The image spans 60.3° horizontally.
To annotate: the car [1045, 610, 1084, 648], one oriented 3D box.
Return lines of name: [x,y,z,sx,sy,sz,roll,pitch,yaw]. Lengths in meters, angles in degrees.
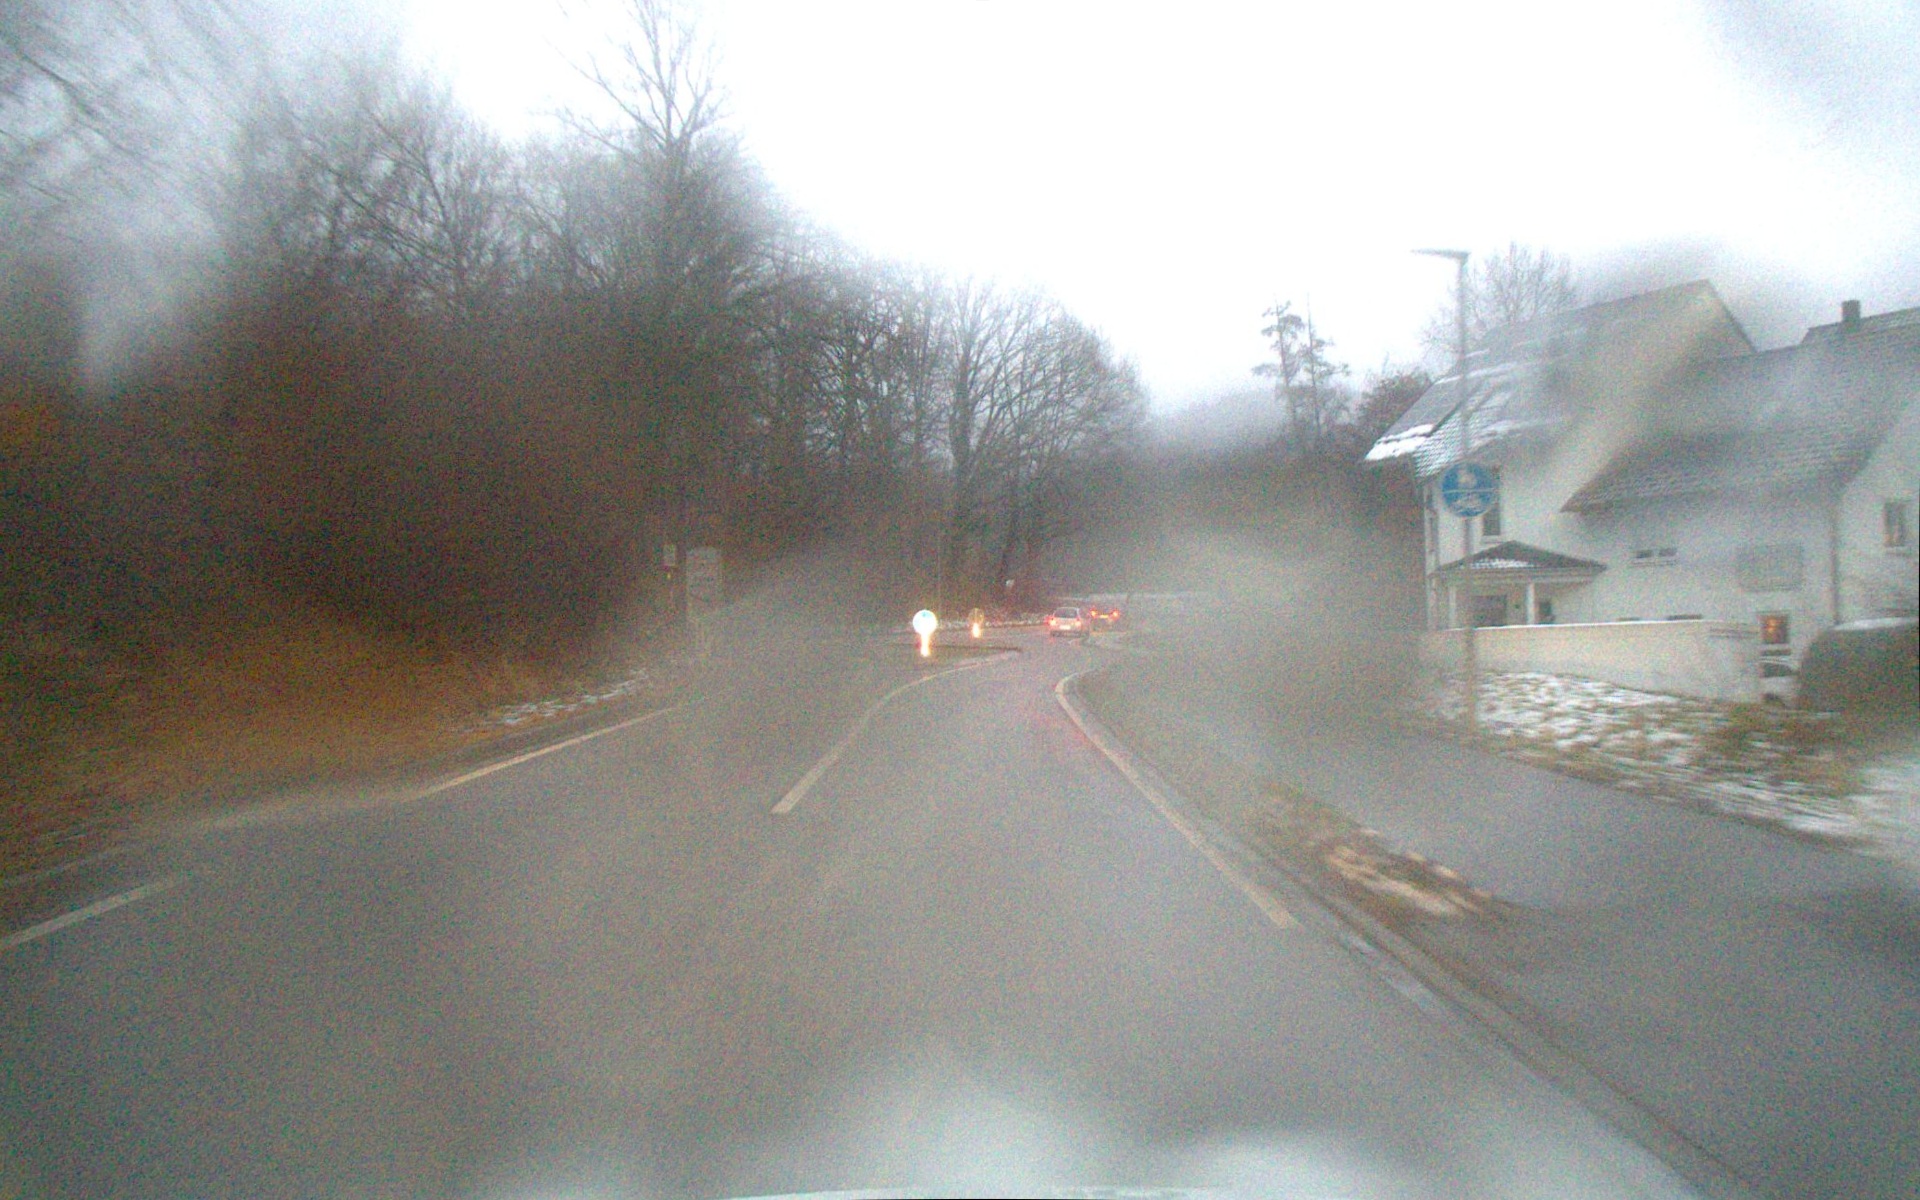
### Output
car: [5.241,1.433,82.540,1.892,1.812,4.002,0,0,4]

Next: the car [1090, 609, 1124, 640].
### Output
car: [8.369,1.371,94.494,1.892,1.705,4.002,0,0,4]
